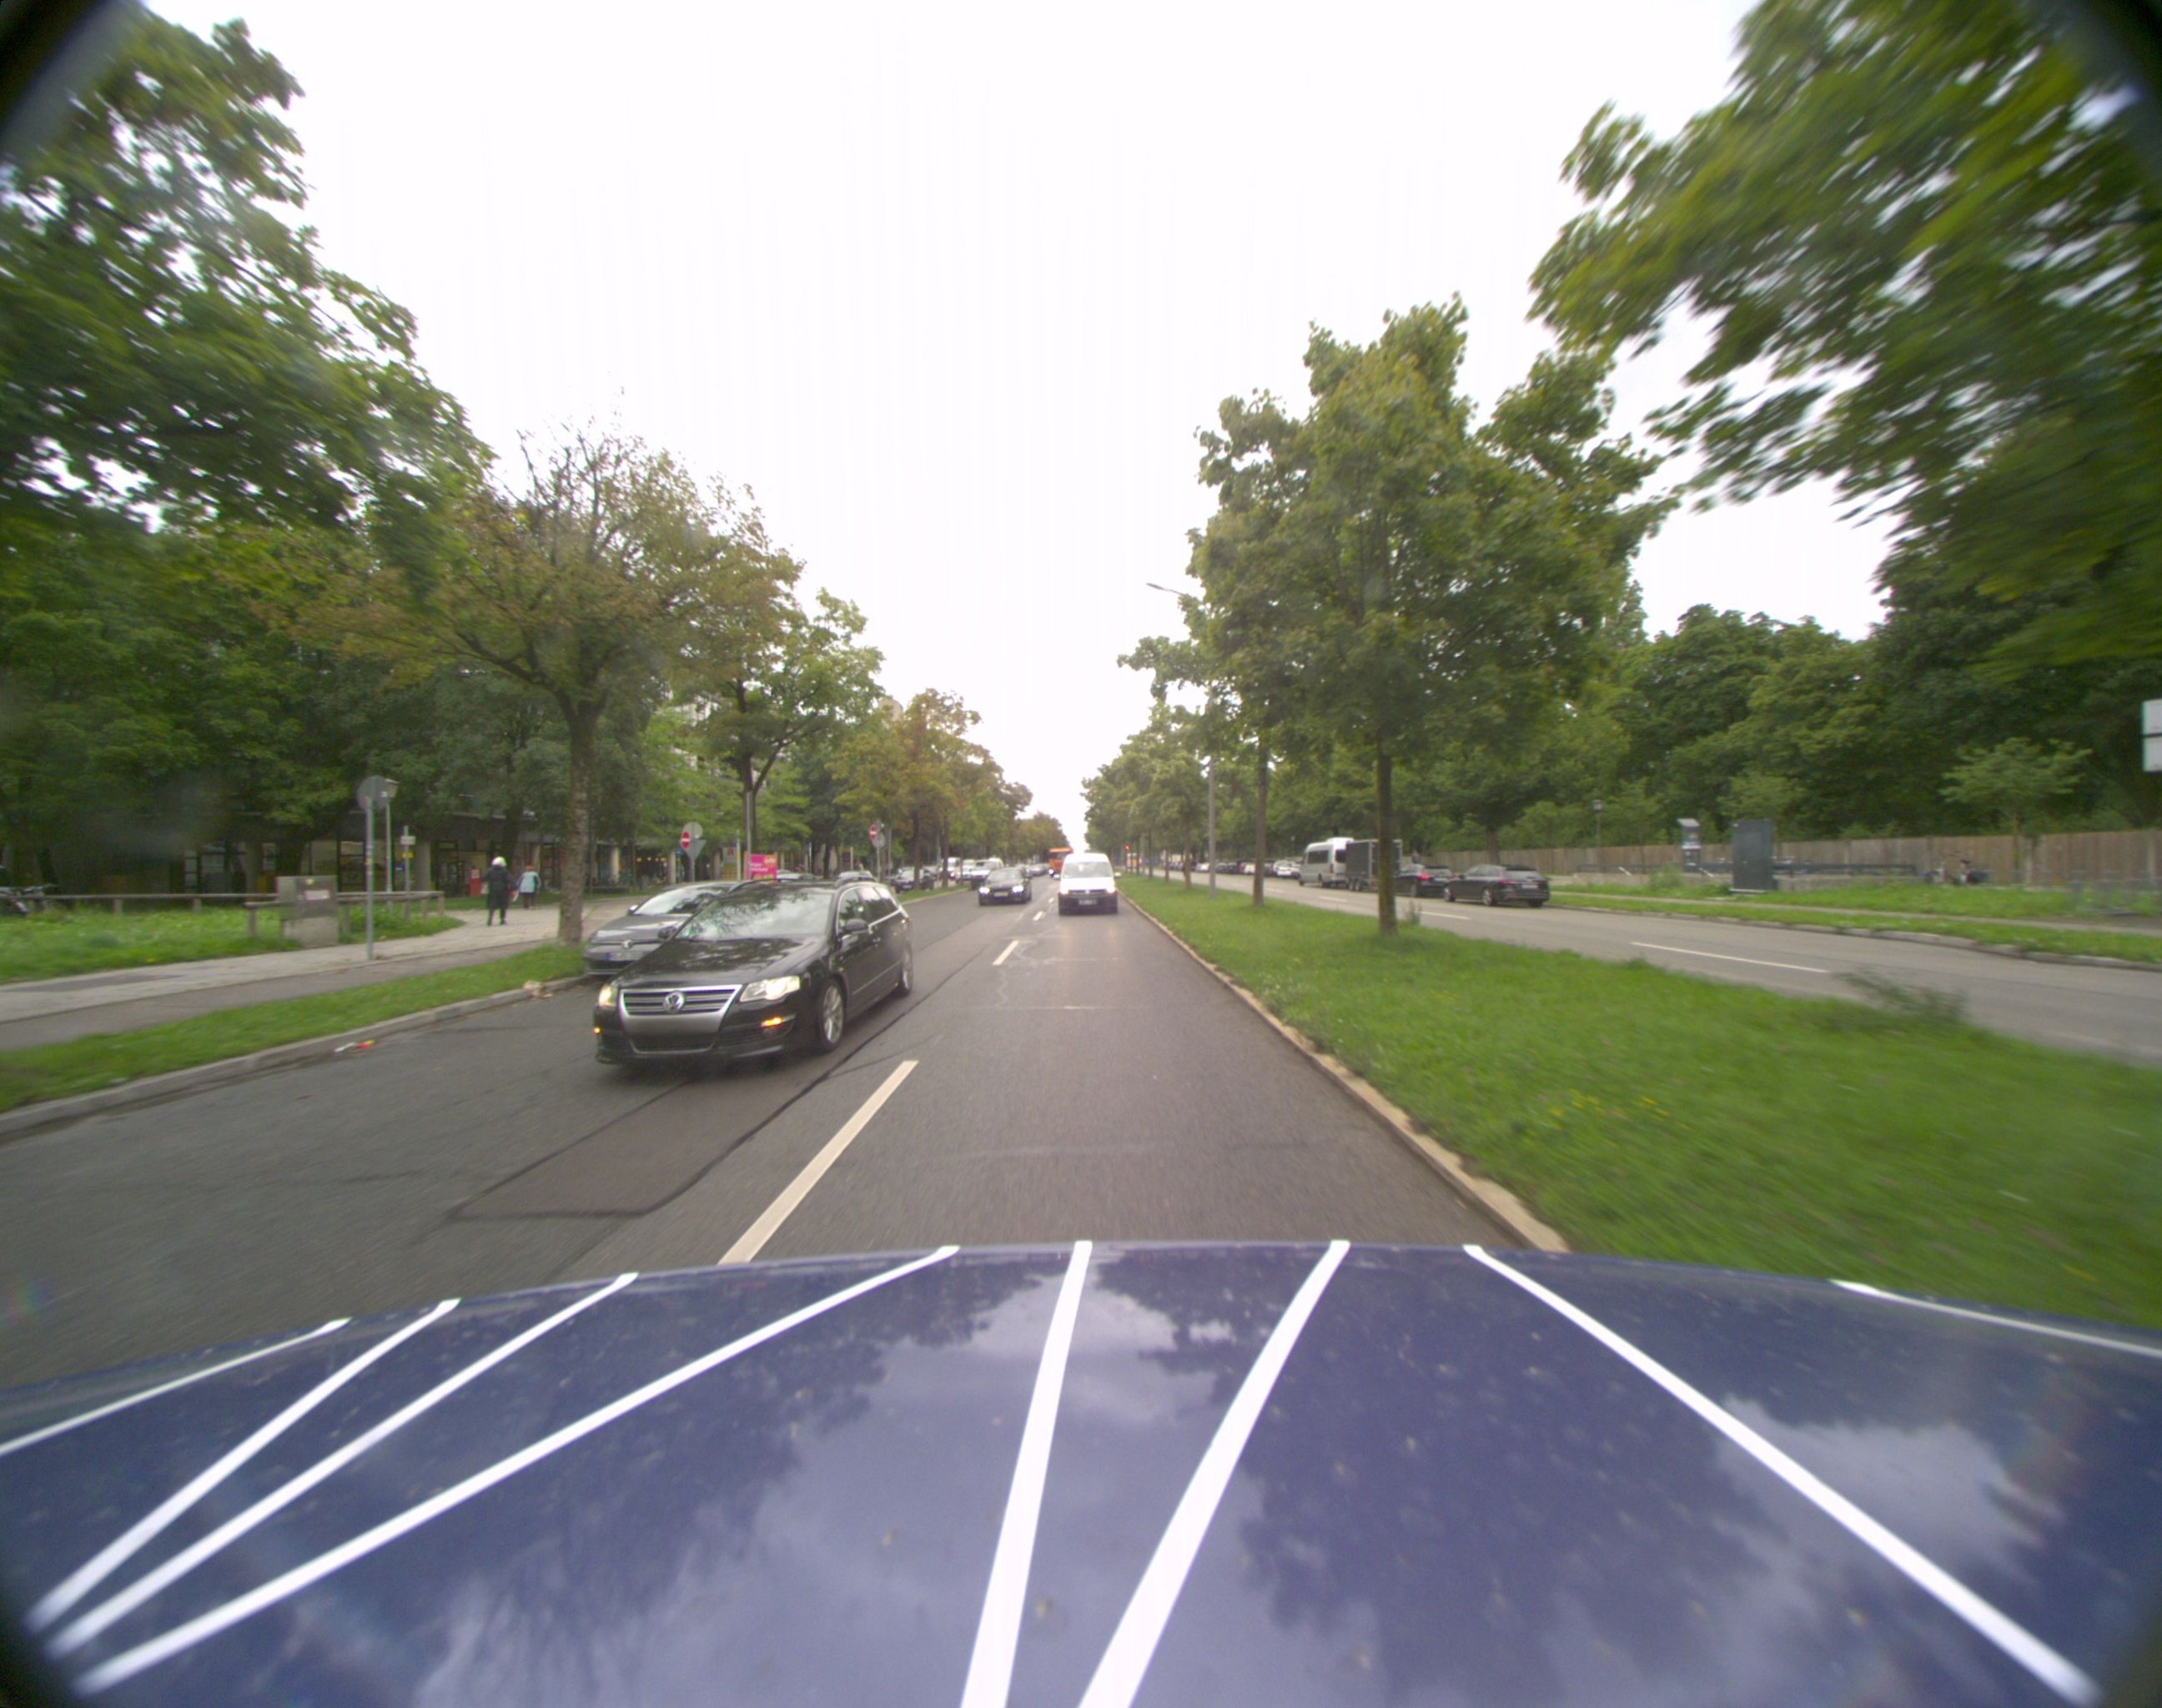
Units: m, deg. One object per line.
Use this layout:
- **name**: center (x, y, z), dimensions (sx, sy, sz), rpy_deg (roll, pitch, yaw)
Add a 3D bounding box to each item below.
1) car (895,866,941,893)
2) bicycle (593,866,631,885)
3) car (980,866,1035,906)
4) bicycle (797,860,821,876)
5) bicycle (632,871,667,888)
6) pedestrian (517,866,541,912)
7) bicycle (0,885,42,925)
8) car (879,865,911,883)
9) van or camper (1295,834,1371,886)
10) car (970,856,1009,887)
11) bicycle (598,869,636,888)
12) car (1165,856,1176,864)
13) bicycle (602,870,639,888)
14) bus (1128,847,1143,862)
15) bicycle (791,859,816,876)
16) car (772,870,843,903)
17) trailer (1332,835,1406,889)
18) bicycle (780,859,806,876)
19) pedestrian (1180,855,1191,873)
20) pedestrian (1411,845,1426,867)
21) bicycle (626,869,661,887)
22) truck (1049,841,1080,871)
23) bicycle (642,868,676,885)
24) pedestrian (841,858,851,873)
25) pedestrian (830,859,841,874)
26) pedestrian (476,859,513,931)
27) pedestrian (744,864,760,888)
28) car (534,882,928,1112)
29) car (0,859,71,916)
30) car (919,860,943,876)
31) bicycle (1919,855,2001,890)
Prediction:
- **car**: center (-10.055, 1.542, 47.204), dimensions (1.732, 1.424, 4.691), rpy_deg (-2, 0, 0)
- **bicycle**: center (-29.040, 1.337, 47.065), dimensions (2.080, 1.113, 0.455), rpy_deg (-1, 0, 0)
- **car**: center (-2.897, 1.242, 30.784), dimensions (1.763, 1.405, 4.462), rpy_deg (-2, 0, -1)
- **bicycle**: center (-28.843, 1.447, 80.571), dimensions (2.316, 1.613, 0.648), rpy_deg (-1, 0, -16)
- **bicycle**: center (-28.968, 1.693, 51.025), dimensions (2.080, 1.113, 0.455), rpy_deg (-1, 0, 0)
- **pedestrian**: center (-19.324, 1.218, 26.583), dimensions (0.581, 1.565, 0.779), rpy_deg (-3, 1, -40)
- **bicycle**: center (-27.117, 1.277, 18.936), dimensions (1.696, 0.965, 0.455), rpy_deg (-1, 0, -3)
- **car**: center (-16.058, 1.697, 65.828), dimensions (1.827, 1.521, 4.601), rpy_deg (0, -1, -3)
- **van or camper**: center (14.693, 0.331, 44.922), dimensions (2.040, 2.821, 7.547), rpy_deg (0, 0, 1)
- **car**: center (-6.071, 1.140, 50.855), dimensions (1.886, 1.916, 4.933), rpy_deg (-2, 0, 0)
- **bicycle**: center (-29.178, 1.553, 47.824), dimensions (2.080, 1.113, 0.455), rpy_deg (-1, 0, 0)
- **car**: center (17.820, 1.211, 151.521), dimensions (1.889, 1.435, 4.170), rpy_deg (-2, 0, 4)
- **bicycle**: center (-29.476, 1.624, 48.661), dimensions (2.080, 1.113, 0.455), rpy_deg (-1, 0, 0)
- **bus**: center (12.260, 0.062, 172.365), dimensions (2.676, 3.279, 11.926), rpy_deg (1, 0, 1)
- **bicycle**: center (-28.427, 1.377, 77.814), dimensions (2.313, 1.613, 0.649), rpy_deg (-1, 0, 0)
- **car**: center (-13.423, 1.562, 37.513), dimensions (1.726, 1.371, 4.352), rpy_deg (-2, 0, 2)
- **trailer**: center (14.619, 0.418, 38.867), dimensions (2.022, 2.575, 4.659), rpy_deg (0, 0, 1)
- **bicycle**: center (-28.709, 1.355, 75.659), dimensions (2.313, 1.613, 0.649), rpy_deg (-1, 0, 0)
- **pedestrian**: center (9.966, 0.916, 72.367), dimensions (0.872, 1.689, 0.771), rpy_deg (0, 1, 21)
- **pedestrian**: center (27.297, 0.140, 61.513), dimensions (0.770, 1.757, 0.874), rpy_deg (0, 0, -3)
- **bicycle**: center (-28.751, 1.581, 49.941), dimensions (2.080, 1.113, 0.455), rpy_deg (-1, 0, 0)
- **truck**: center (-1.837, 0.276, 87.366), dimensions (3.046, 3.170, 9.134), rpy_deg (-2, 0, 1)
- **bicycle**: center (-29.021, 1.531, 52.230), dimensions (2.080, 1.113, 0.455), rpy_deg (-1, 0, 0)
- **pedestrian**: center (-27.313, 1.345, 88.305), dimensions (0.872, 1.689, 0.771), rpy_deg (0, 1, 15)
- **pedestrian**: center (-27.775, 1.377, 85.906), dimensions (0.769, 1.689, 0.875), rpy_deg (0, 1, 15)
- **pedestrian**: center (-14.531, 1.001, 18.838), dimensions (0.642, 1.720, 0.599), rpy_deg (-2, 1, -34)
- **pedestrian**: center (-21.129, 1.411, 48.837), dimensions (0.659, 1.533, 0.633), rpy_deg (1, 1, 17)
- **car**: center (-2.933, 1.095, 7.608), dimensions (1.735, 1.424, 4.442), rpy_deg (-2, 0, 1)
- **car**: center (-42.135, 1.222, 27.778), dimensions (6.114, 2.041, 2.342), rpy_deg (0, 0, -14)
- **car**: center (-16.321, 1.532, 82.811), dimensions (1.865, 1.624, 4.340), rpy_deg (0, 0, -3)
- **bicycle**: center (25.004, 0.530, 21.617), dimensions (1.824, 0.924, 0.433), rpy_deg (-2, 0, 0)
